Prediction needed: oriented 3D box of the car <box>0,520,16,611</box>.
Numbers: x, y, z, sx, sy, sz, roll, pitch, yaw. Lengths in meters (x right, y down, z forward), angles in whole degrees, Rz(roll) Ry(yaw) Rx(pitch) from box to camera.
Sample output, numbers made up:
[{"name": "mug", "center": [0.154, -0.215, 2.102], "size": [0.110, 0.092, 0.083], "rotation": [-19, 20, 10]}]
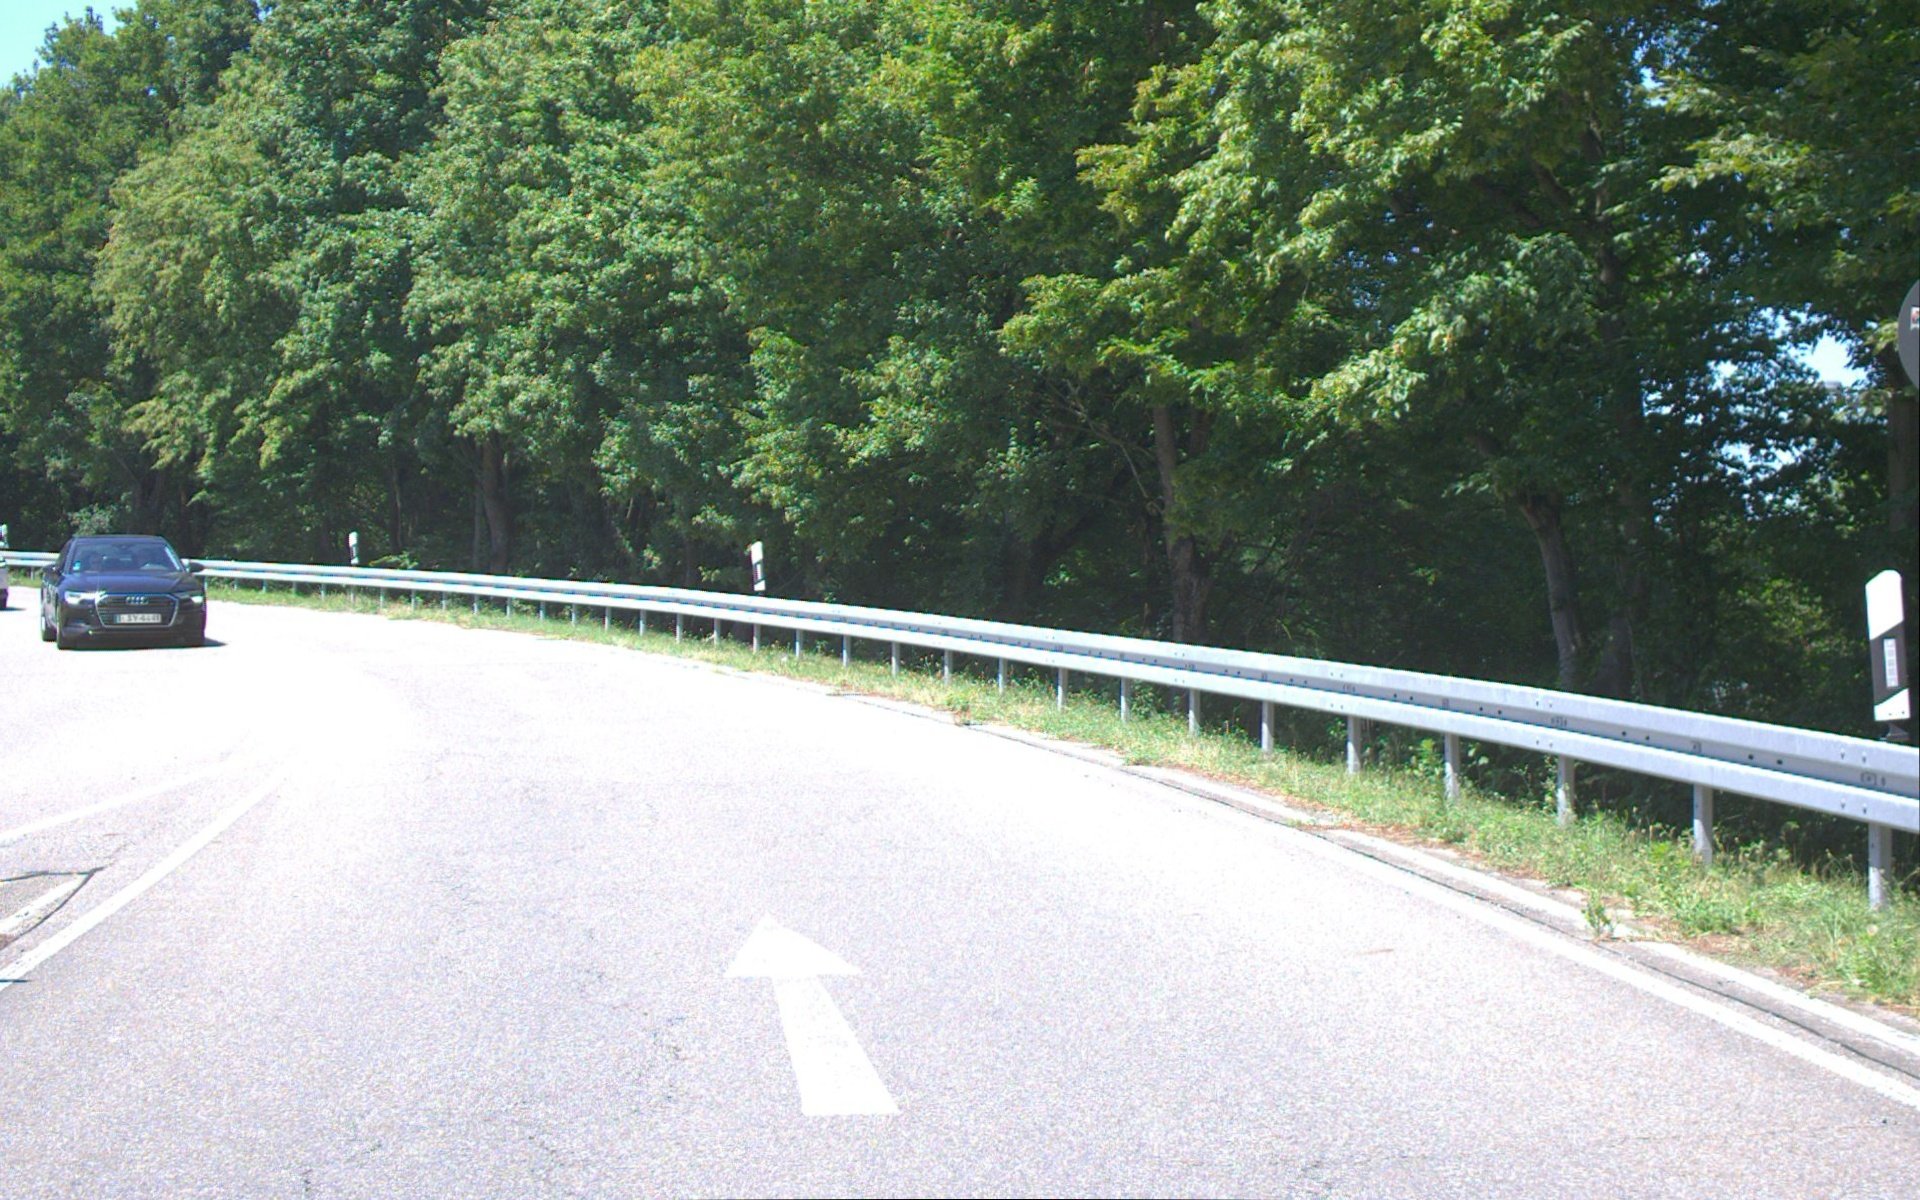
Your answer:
[{"name": "car", "center": [-18.299, -0.571, 62.409], "size": [1.822, 1.585, 4.219], "rotation": [-3, 1, -20]}]

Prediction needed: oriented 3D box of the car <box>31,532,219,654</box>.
[{"name": "car", "center": [-11.193, -0.111, 45.863], "size": [1.802, 1.501, 4.659], "rotation": [-2, 1, -21]}]
